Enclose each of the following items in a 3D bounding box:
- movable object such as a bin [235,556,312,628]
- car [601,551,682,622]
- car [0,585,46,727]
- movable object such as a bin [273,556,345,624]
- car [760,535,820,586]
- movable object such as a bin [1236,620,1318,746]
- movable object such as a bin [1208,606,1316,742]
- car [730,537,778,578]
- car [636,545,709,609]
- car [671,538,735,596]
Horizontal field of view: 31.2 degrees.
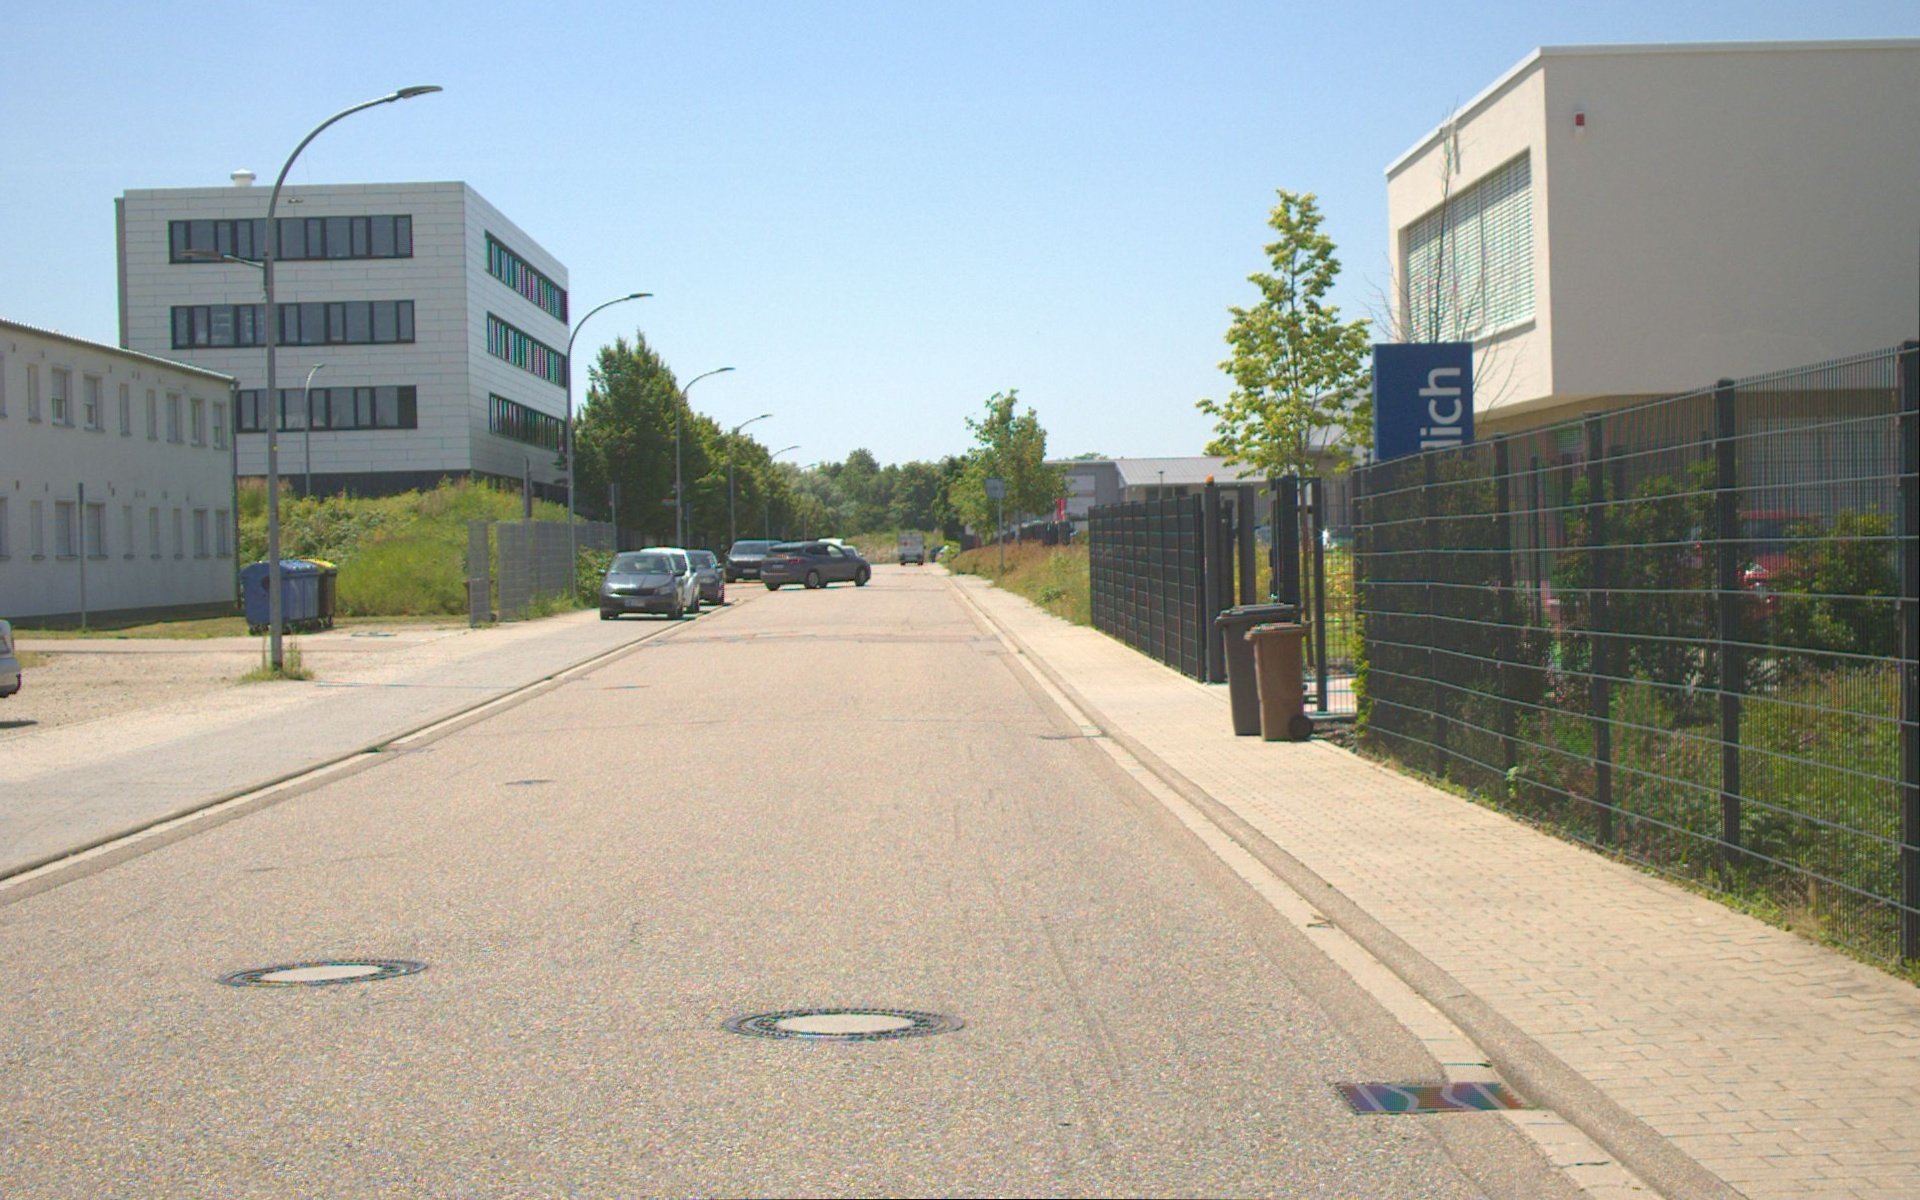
[{"bbox_3d":[-13.742,-0.176,68.840,1.285,1.407,1.807,-1,1,-5],"label":"movable object such as a bin"},{"bbox_3d":[-6.932,-0.314,74.982,1.466,1.484,3.207,-1,1,0],"label":"car"},{"bbox_3d":[-11.414,0.602,33.887,4.277,1.360,1.898,-2,1,0],"label":"car"},{"bbox_3d":[-13.713,-0.217,72.431,1.285,1.407,1.807,-1,1,-5],"label":"movable object such as a bin"},{"bbox_3d":[-5.619,-1.321,113.783,1.826,1.637,3.207,-1,1,0],"label":"car"},{"bbox_3d":[2.523,0.654,27.391,0.552,0.925,0.522,-5,2,4],"label":"movable object such as a bin"},{"bbox_3d":[2.486,0.606,28.374,0.779,1.016,0.665,-5,2,4],"label":"movable object such as a bin"},{"bbox_3d":[-7.787,-1.609,130.121,1.644,1.484,3.207,-1,1,0],"label":"car"},{"bbox_3d":[-6.847,-0.559,82.097,1.466,1.484,3.207,-1,1,0],"label":"car"},{"bbox_3d":[-6.801,-0.885,91.204,1.466,1.484,3.207,-1,1,0],"label":"car"}]
